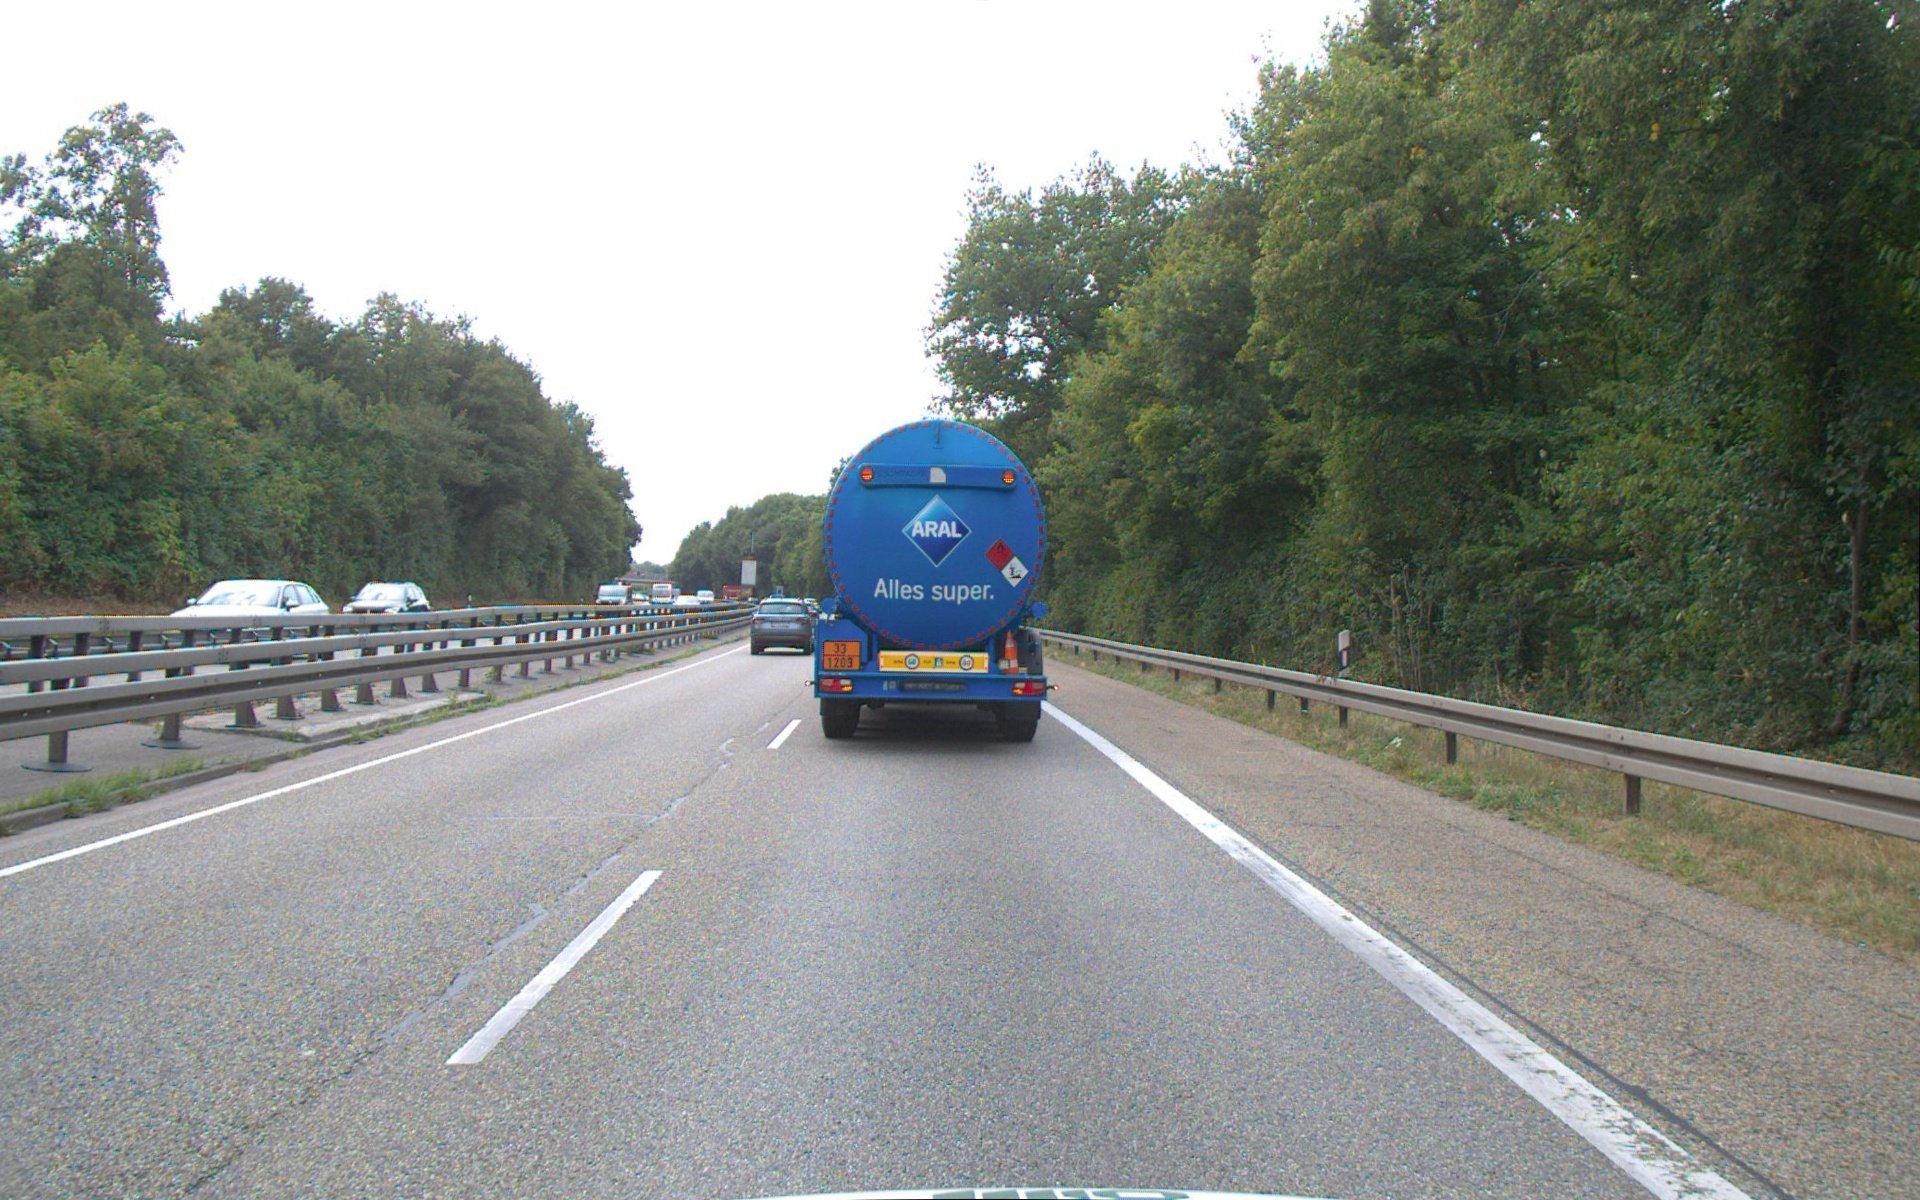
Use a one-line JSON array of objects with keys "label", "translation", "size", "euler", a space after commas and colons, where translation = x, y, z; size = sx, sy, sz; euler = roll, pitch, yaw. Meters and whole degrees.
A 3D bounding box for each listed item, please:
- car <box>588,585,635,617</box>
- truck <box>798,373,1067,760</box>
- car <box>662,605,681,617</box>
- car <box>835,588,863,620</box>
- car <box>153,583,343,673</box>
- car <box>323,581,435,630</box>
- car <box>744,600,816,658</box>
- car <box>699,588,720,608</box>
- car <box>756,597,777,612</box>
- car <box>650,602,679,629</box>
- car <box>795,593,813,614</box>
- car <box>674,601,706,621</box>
[{"label": "car", "translation": [-21.101, 0.092, 100.435], "size": [1.994, 1.835, 5.120], "euler": [0, -1, -3]}, {"label": "truck", "translation": [-0.343, -0.322, 20.636], "size": [2.699, 3.914, 7.686], "euler": [0, 0, -1]}, {"label": "car", "translation": [-32.467, 1.236, 186.352], "size": [1.740, 1.319, 4.102], "euler": [0, -1, -6]}, {"label": "car", "translation": [-7.988, 0.307, 119.287], "size": [1.954, 2.284, 3.997], "euler": [0, -1, -3]}, {"label": "car", "translation": [-12.405, 0.485, 29.096], "size": [1.677, 1.452, 4.055], "euler": [0, -1, -2]}, {"label": "car", "translation": [-16.520, 0.170, 47.217], "size": [1.938, 1.322, 4.065], "euler": [0, -1, -3]}, {"label": "car", "translation": [-5.268, 0.849, 48.790], "size": [1.789, 1.638, 4.165], "euler": [0, -1, -2]}, {"label": "car", "translation": [-26.583, -0.193, 175.608], "size": [1.786, 2.018, 5.052], "euler": [0, -1, -5]}, {"label": "car", "translation": [-20.928, 0.531, 178.419], "size": [1.958, 1.579, 3.989], "euler": [1, -1, -11]}, {"label": "car", "translation": [-29.414, 1.560, 164.678], "size": [2.266, 2.657, 5.547], "euler": [0, -1, -5]}, {"label": "car", "translation": [-17.396, 0.366, 184.878], "size": [1.955, 2.284, 3.995], "euler": [0, -1, -5]}, {"label": "car", "translation": [-18.260, 0.728, 111.952], "size": [1.622, 1.300, 4.710], "euler": [1, -1, -3]}]
